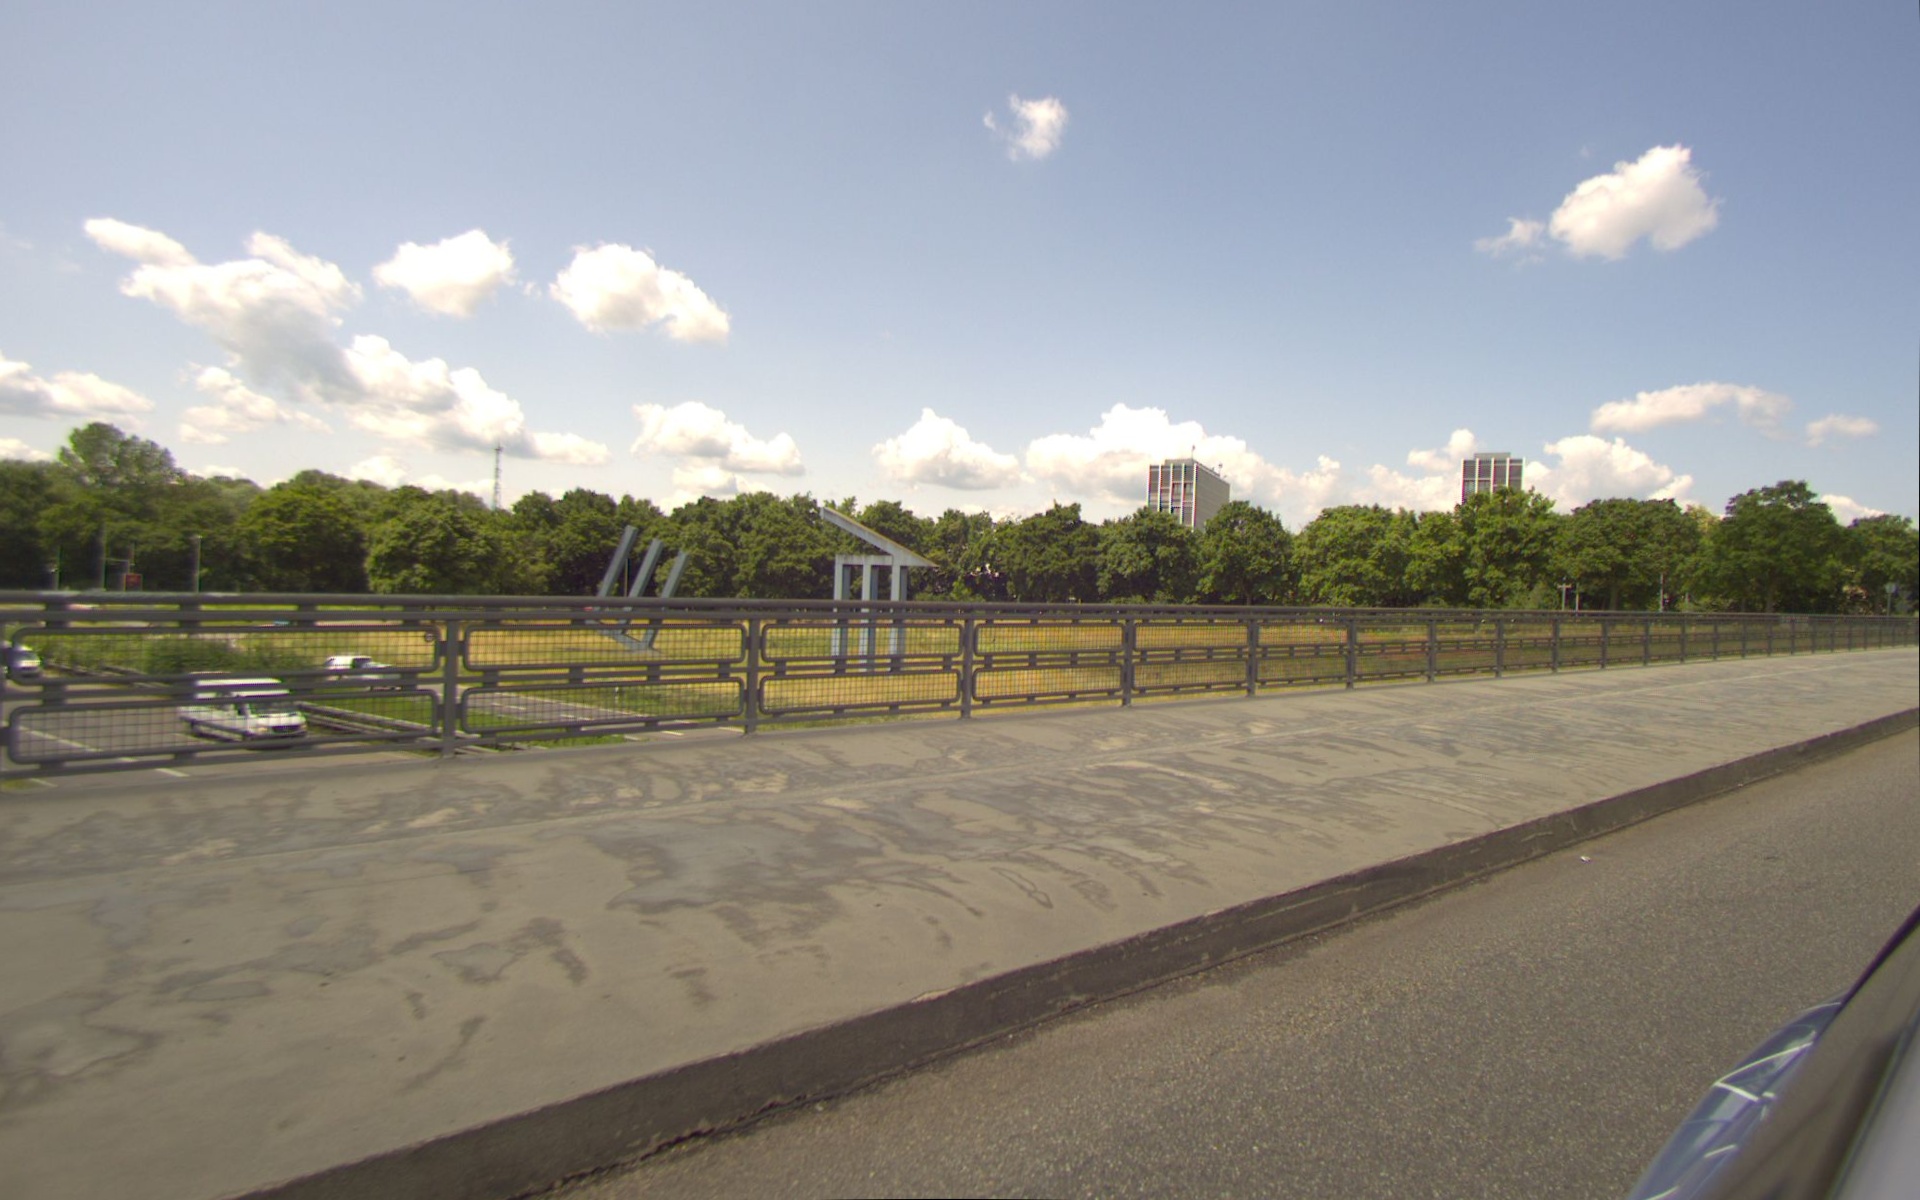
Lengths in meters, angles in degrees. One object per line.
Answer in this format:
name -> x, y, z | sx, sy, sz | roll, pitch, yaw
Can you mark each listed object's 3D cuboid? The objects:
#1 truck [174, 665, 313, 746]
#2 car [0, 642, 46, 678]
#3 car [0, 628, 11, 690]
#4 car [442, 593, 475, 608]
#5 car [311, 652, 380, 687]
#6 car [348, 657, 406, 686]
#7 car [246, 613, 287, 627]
truck -> -29.370, 4.211, 41.405 | 6.560, 2.736, 1.979 | 1, -1, 29
car -> -53.532, 3.336, 56.975 | 3.968, 1.765, 1.977 | 1, -1, 31
car -> -48.370, 2.816, 49.362 | 3.968, 2.937, 1.977 | 1, -1, 31
car -> -67.780, 0.066, 136.915 | 3.918, 1.906, 2.003 | 2, -1, -27
car -> -37.104, 4.172, 61.088 | 3.968, 1.861, 1.977 | 1, -1, 31
car -> -34.089, 4.150, 59.196 | 3.122, 1.490, 1.643 | 1, -1, 31
car -> -71.298, 2.092, 104.047 | 3.968, 1.304, 1.977 | 1, -1, 31
